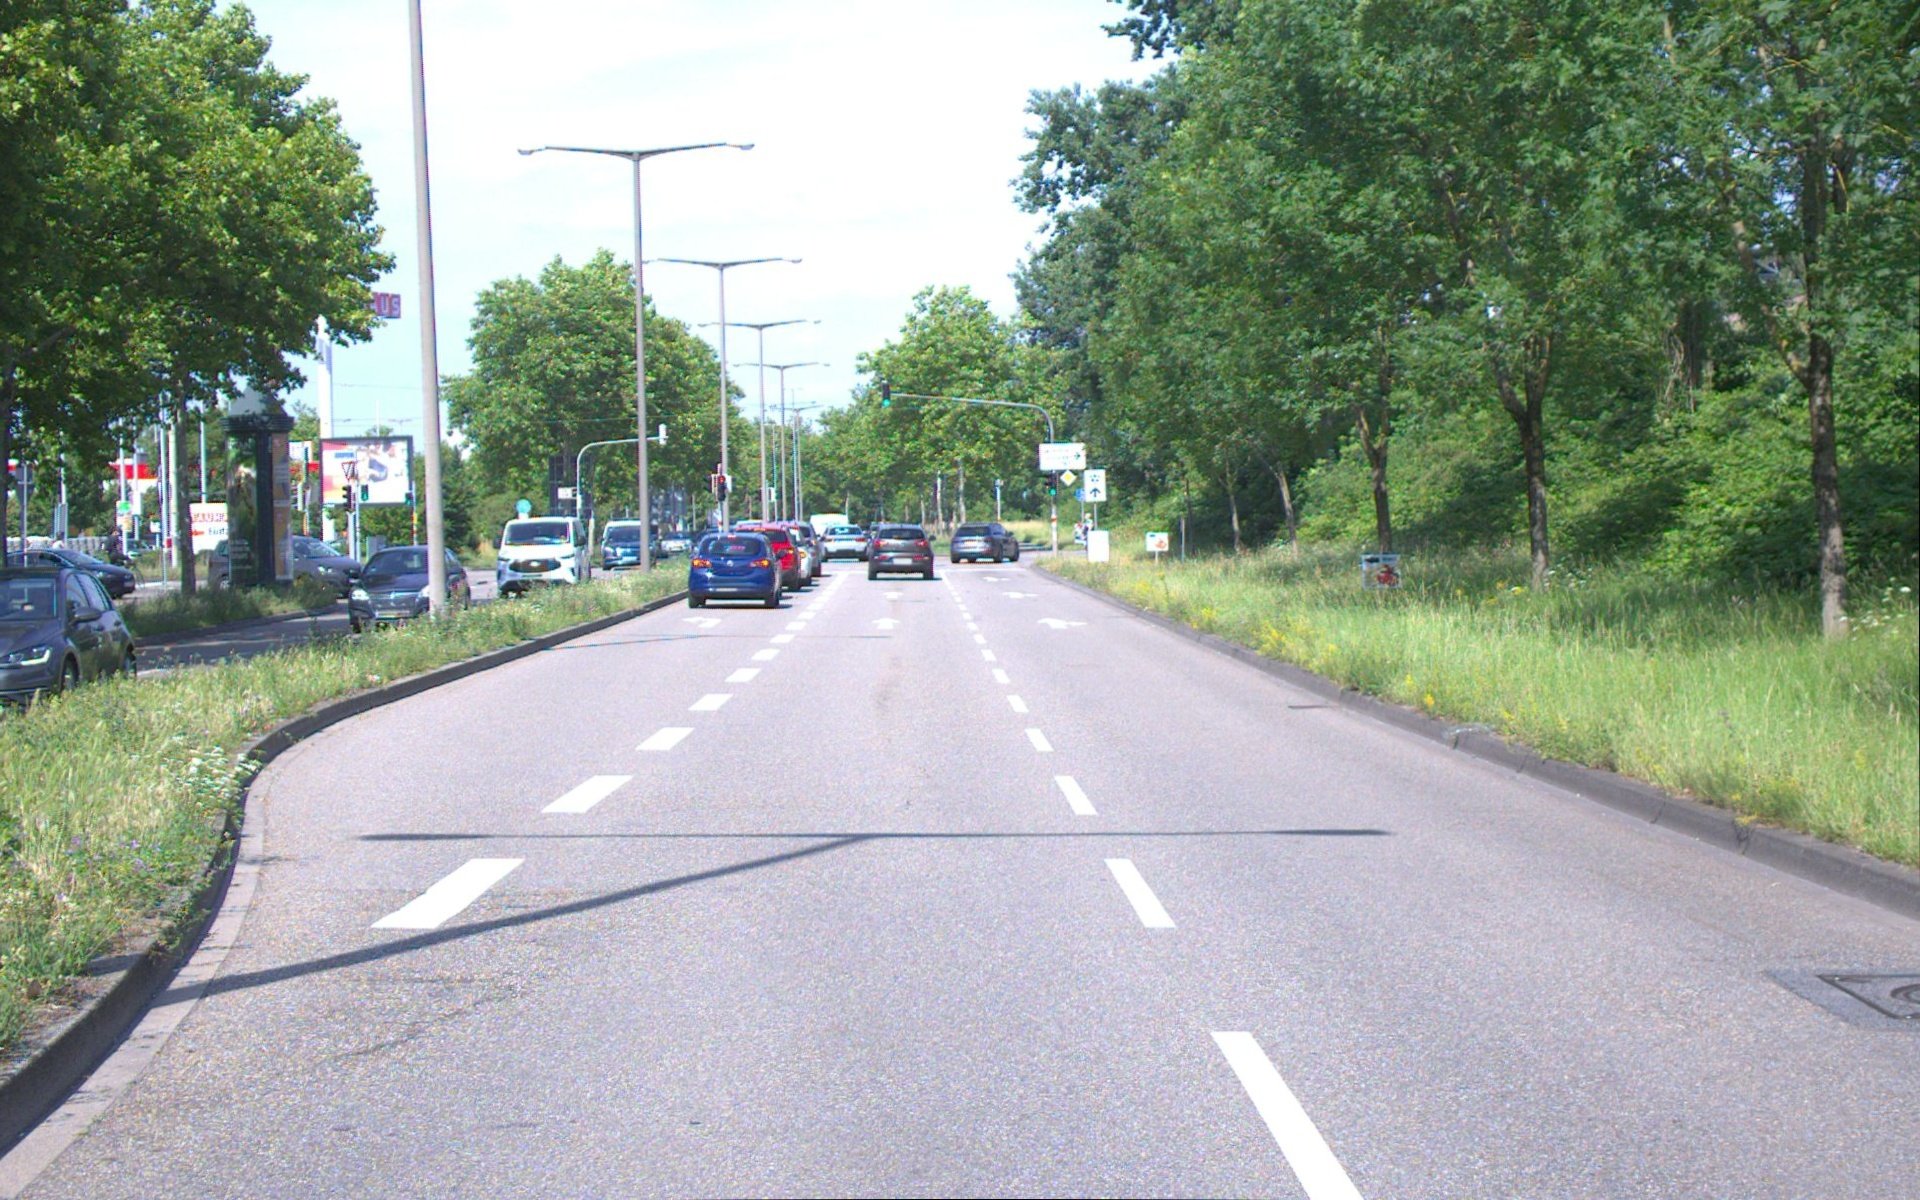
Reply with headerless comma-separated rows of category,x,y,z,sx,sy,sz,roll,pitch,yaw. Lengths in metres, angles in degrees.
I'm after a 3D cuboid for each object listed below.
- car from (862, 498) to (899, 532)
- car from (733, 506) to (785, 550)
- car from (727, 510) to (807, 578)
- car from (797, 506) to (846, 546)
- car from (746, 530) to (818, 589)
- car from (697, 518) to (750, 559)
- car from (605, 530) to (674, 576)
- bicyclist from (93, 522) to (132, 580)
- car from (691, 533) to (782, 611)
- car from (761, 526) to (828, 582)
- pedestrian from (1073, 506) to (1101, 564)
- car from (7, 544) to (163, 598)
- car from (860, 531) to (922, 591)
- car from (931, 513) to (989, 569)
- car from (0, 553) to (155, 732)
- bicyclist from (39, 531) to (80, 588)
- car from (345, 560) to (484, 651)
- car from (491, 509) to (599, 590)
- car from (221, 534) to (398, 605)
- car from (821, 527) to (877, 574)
car,-4.794,-5.095,206.748,1.993,2.007,4.001,-1,1,-4
car,-8.769,-3.140,150.276,1.993,1.853,4.000,-1,1,1
car,-4.625,-1.360,82.761,1.782,1.587,4.594,0,1,-1
car,-6.163,-3.312,153.633,1.993,1.702,4.263,-1,1,0
car,-4.612,-1.077,89.506,1.766,1.474,4.136,0,1,-1
car,-10.799,-2.815,157.008,1.993,1.769,4.000,-1,1,2
car,-11.247,-1.658,120.746,1.993,1.525,4.682,-2,1,-1
bicyclist,-25.797,-1.509,104.678,0.897,1.709,0.783,-3,4,-36
car,-4.402,-0.576,68.226,1.626,1.478,4.049,1,1,-1
car,-4.920,-1.374,102.455,1.881,1.612,4.213,-1,1,-1
pedestrian,4.299,-2.195,116.552,0.837,1.926,0.772,-1,3,-4
car,-24.365,-0.803,95.705,3.992,1.383,1.763,0,2,26
car,-1.963,-1.137,99.023,1.736,1.530,4.001,-1,3,-1
car,-0.019,-2.130,123.169,2.018,1.831,4.001,-1,3,-1
car,-8.626,0.348,30.917,1.839,1.473,4.166,-2,1,-1
bicyclist,-26.941,-1.214,102.852,0.897,1.640,0.788,-3,4,-36
car,-9.553,0.066,60.484,1.768,1.464,4.284,-2,1,-1
car,-10.229,-1.260,85.079,2.116,1.877,5.420,-2,1,-2
car,-17.324,-0.810,91.544,4.392,1.744,1.866,-1,1,29
car,-4.223,-1.907,131.570,1.993,1.738,4.266,-1,1,-1
